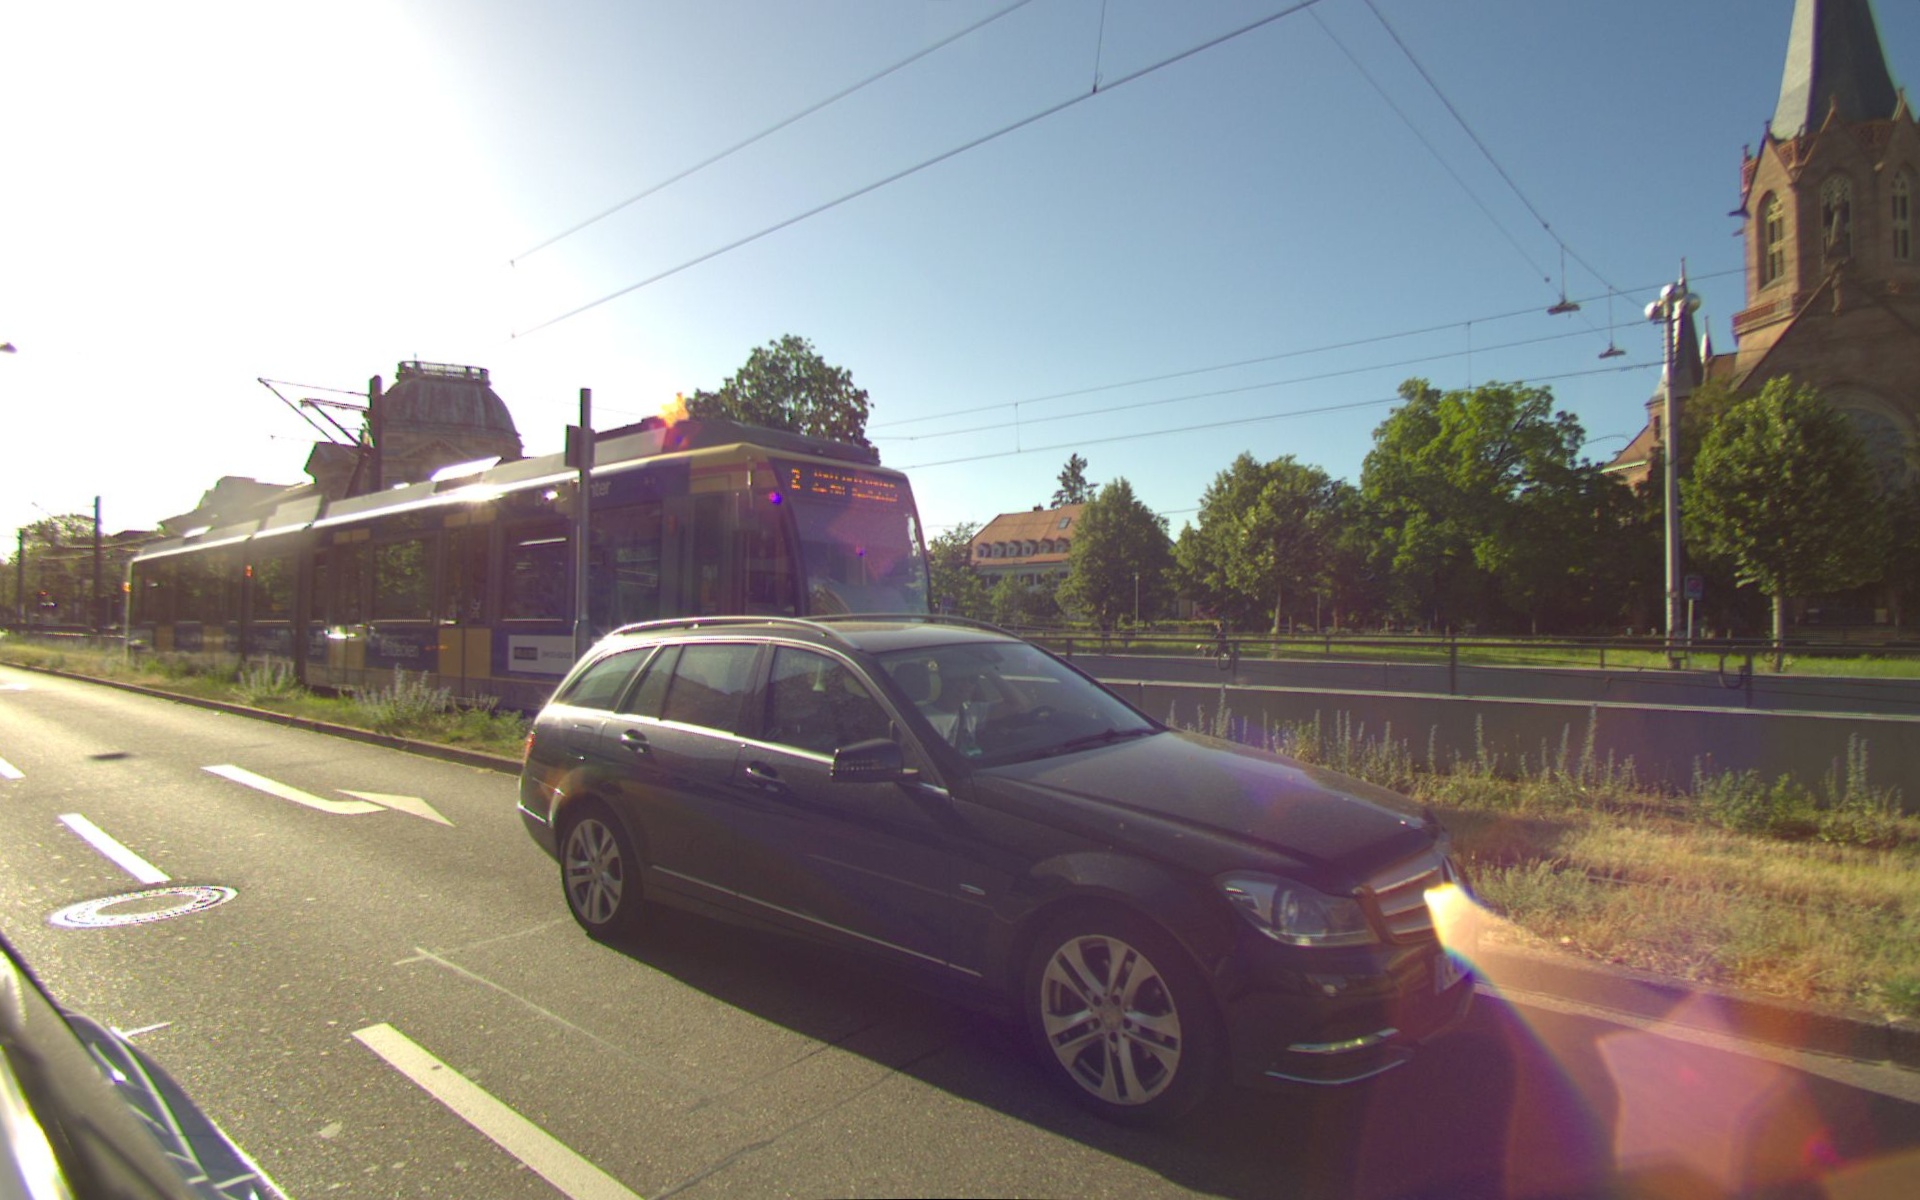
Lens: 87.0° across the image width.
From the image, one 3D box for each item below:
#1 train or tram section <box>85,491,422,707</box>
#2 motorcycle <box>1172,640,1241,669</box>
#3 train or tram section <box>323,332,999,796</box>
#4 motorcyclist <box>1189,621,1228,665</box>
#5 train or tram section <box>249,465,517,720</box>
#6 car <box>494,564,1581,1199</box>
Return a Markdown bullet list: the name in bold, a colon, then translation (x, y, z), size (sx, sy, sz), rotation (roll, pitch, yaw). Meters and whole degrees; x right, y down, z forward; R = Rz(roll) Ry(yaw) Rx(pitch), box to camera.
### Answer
- **train or tram section**: translation (-17.172, 0.085, 23.776), size (14.262, 3.841, 2.899), rotation (-1, 0, 40)
- **motorcycle**: translation (7.815, 1.727, 32.118), size (2.144, 0.856, 0.508), rotation (-1, 0, 43)
- **train or tram section**: translation (-4.677, -0.232, 13.166), size (10.793, 3.926, 2.923), rotation (-1, 0, 40)
- **motorcyclist**: translation (7.885, 1.358, 32.064), size (0.874, 1.348, 0.873), rotation (-1, 0, 42)
- **train or tram section**: translation (-10.249, -0.104, 17.945), size (3.862, 3.926, 2.925), rotation (-1, 0, 40)
- **car**: translation (-0.056, 0.709, 4.286), size (4.405, 1.481, 1.710), rotation (-1, -1, 39)
